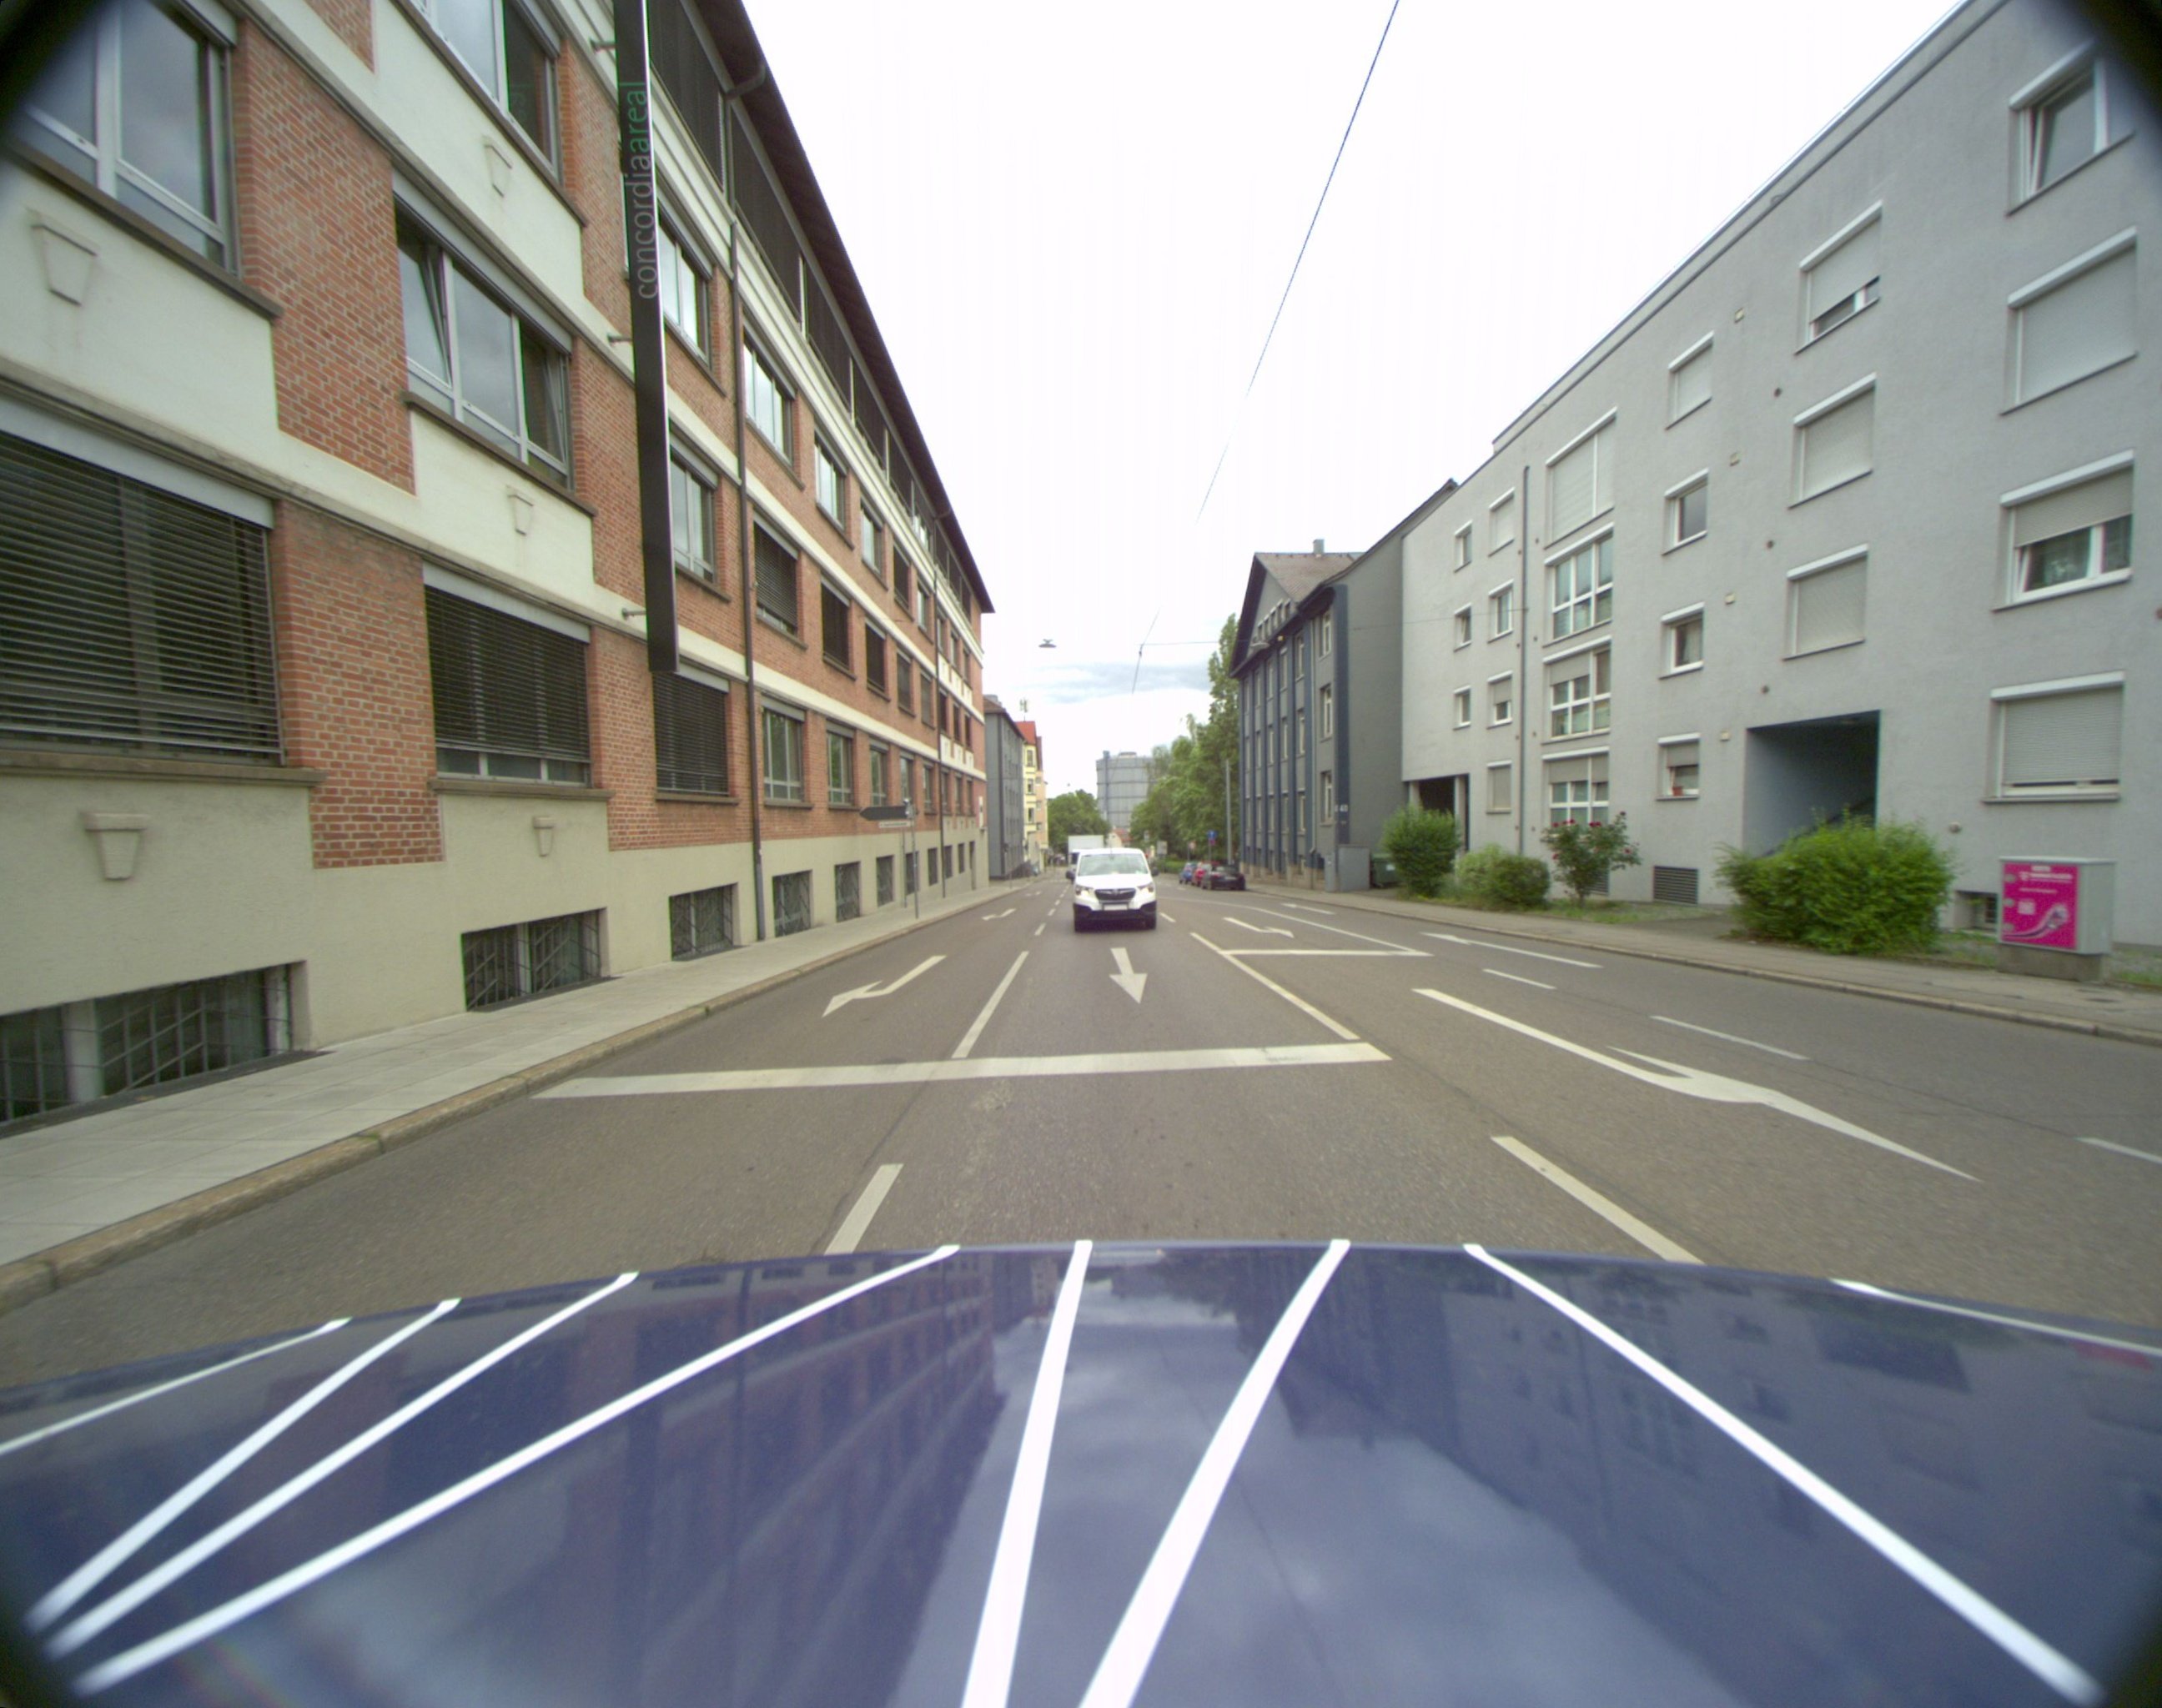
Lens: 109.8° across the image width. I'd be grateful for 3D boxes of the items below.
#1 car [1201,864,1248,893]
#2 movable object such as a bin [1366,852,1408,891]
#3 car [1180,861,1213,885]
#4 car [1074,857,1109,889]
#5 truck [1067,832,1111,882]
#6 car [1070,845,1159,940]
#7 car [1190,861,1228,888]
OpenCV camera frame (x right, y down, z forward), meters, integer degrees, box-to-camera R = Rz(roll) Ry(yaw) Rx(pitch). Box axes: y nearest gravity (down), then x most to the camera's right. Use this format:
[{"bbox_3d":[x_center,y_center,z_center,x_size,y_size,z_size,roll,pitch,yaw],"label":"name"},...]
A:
[{"bbox_3d":[7.433,1.229,39.762,1.801,1.384,3.729,-1,0,1],"label":"car"},{"bbox_3d":[12.305,0.701,30.577,1.229,1.497,1.040,-3,1,1],"label":"movable object such as a bin"},{"bbox_3d":[7.714,1.215,51.055,1.644,1.441,3.729,-3,0,1],"label":"car"},{"bbox_3d":[0.581,0.992,41.020,1.739,1.519,4.000,-3,0,1],"label":"car"},{"bbox_3d":[0.614,0.198,57.166,2.969,3.408,8.879,-3,0,1],"label":"truck"},{"bbox_3d":[0.718,0.792,17.591,1.739,1.875,4.000,-3,0,1],"label":"car"},{"bbox_3d":[7.682,1.188,45.795,1.644,1.441,3.729,-3,0,1],"label":"car"}]
